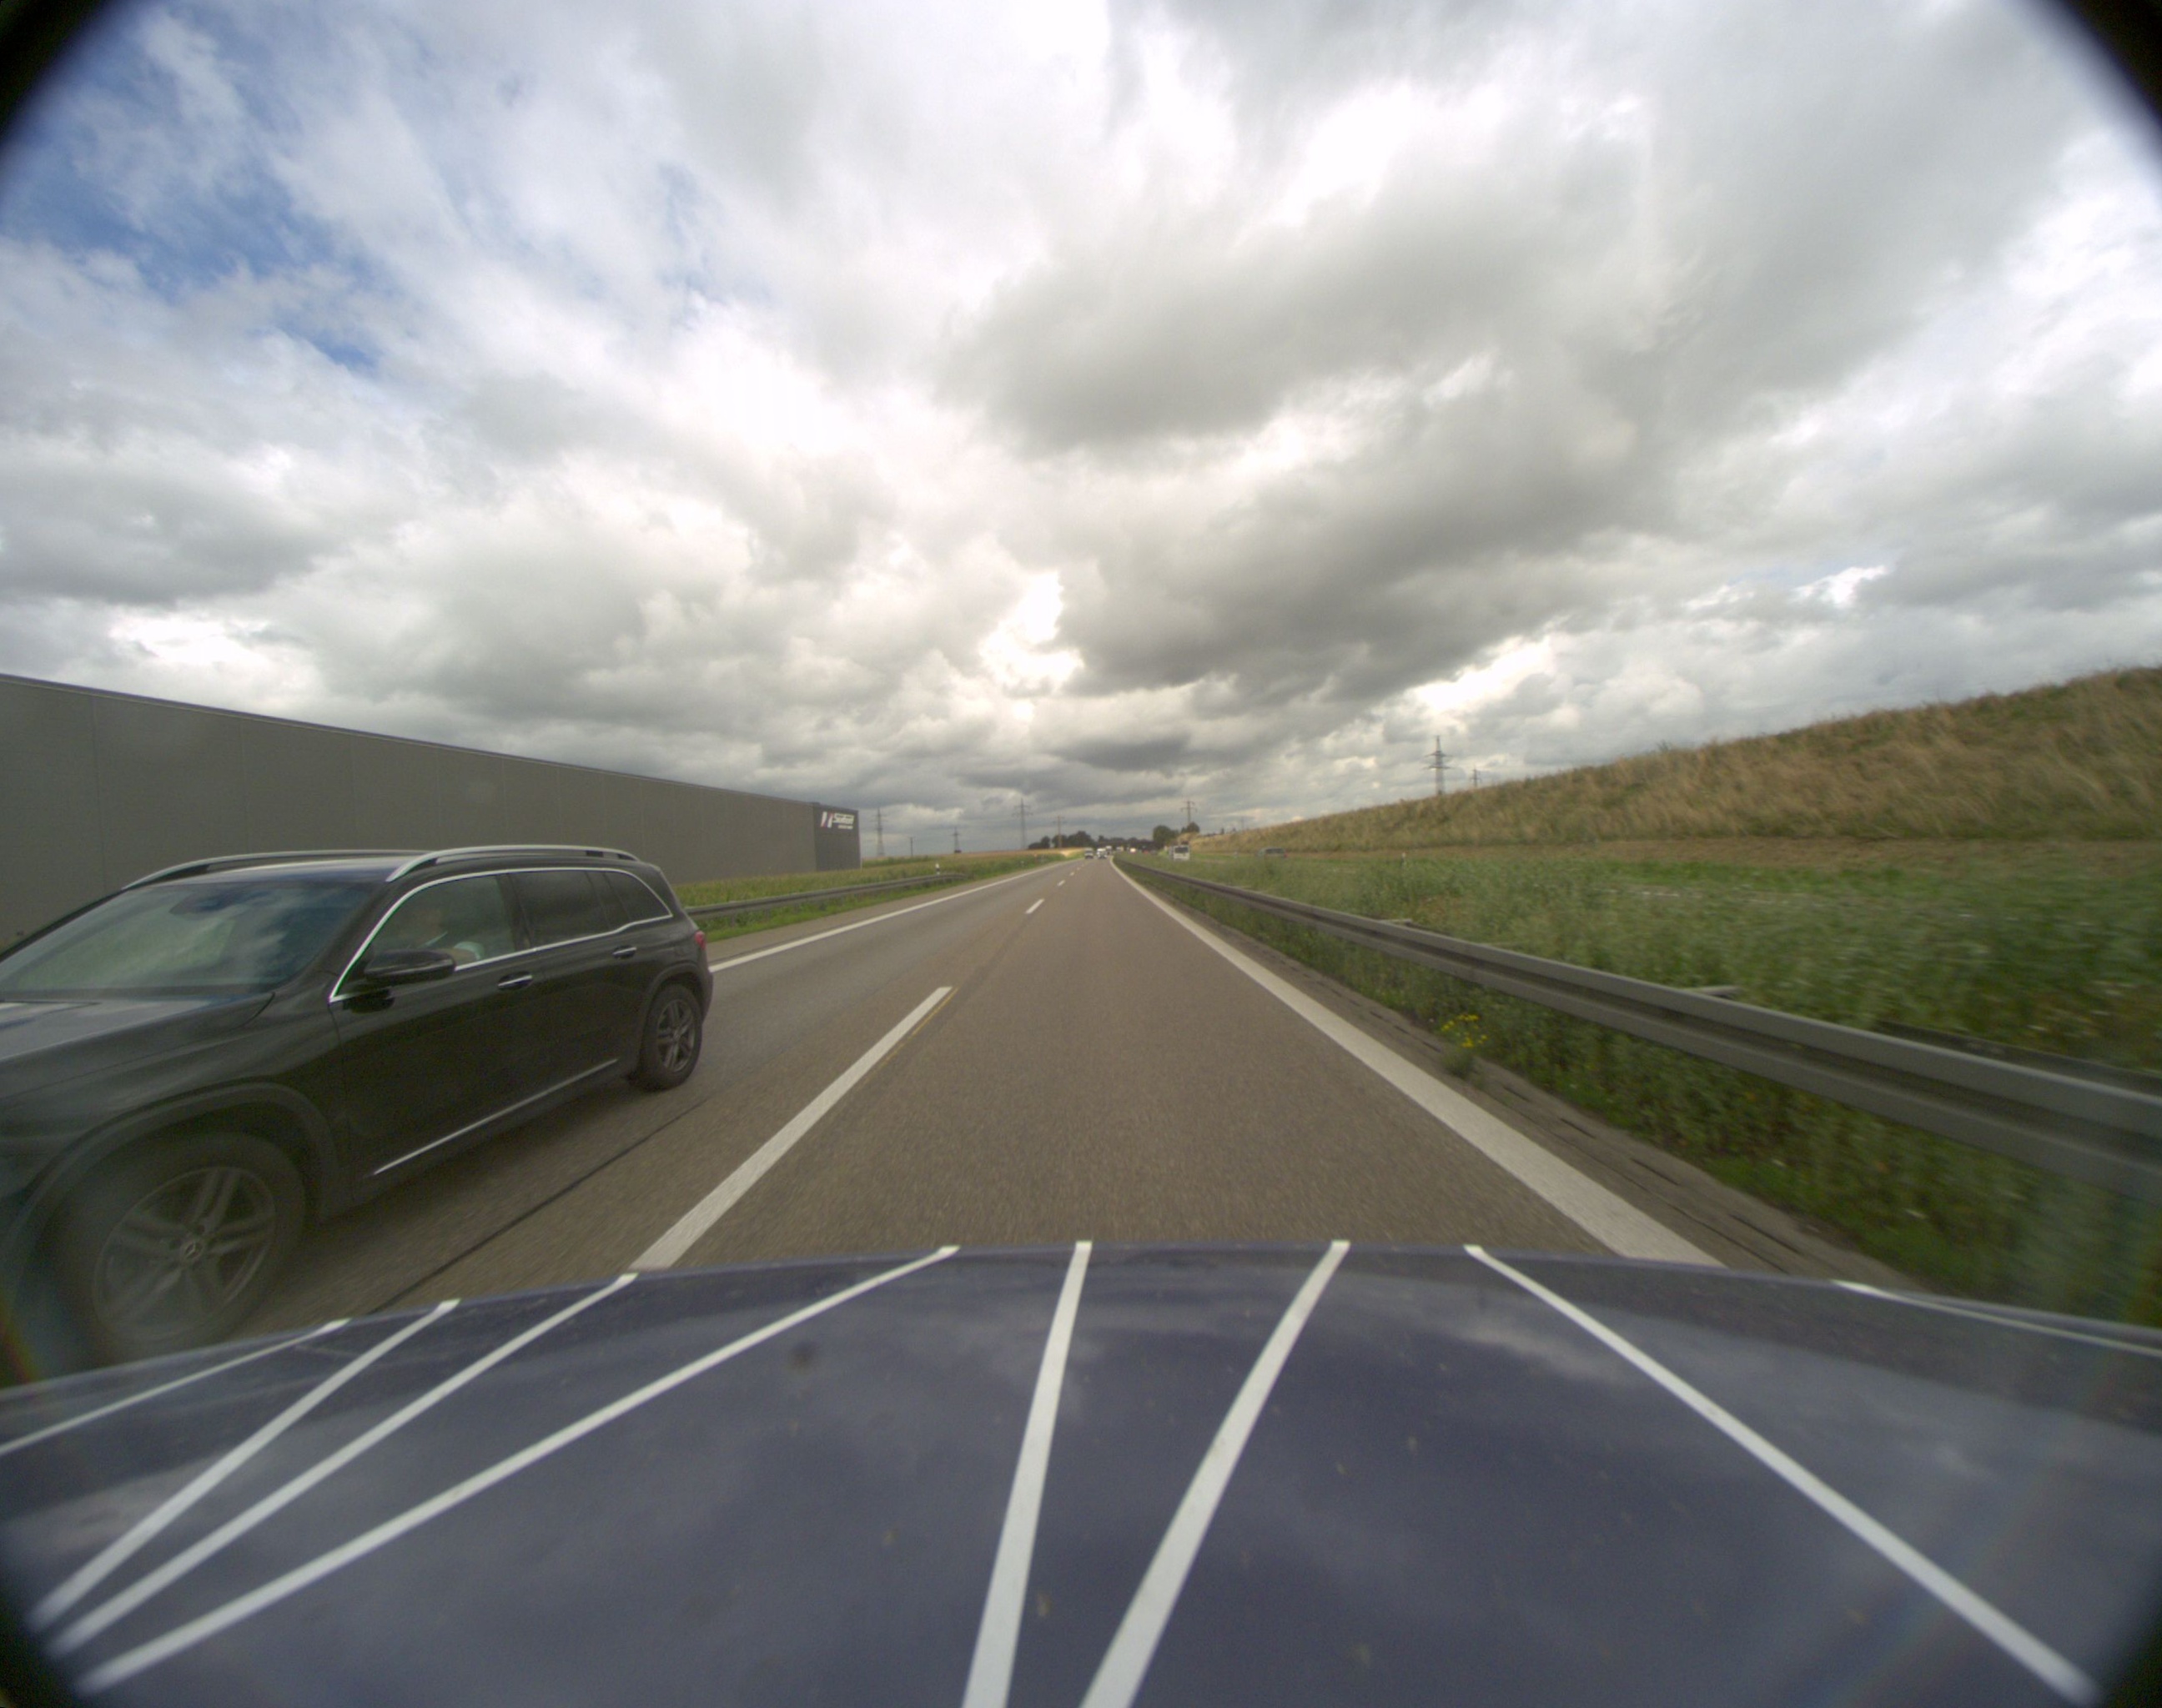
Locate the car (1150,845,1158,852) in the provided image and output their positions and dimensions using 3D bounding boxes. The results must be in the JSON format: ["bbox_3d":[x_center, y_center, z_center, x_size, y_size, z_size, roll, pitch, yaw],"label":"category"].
[{"bbox_3d":[18.346,-1.455,190.834,1.821,1.692,4.000,-2,1,2],"label":"car"}]

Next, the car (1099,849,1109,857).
[{"bbox_3d":[5.065,-0.202,167.480,1.998,1.695,4.663,-4,-1,4],"label":"car"}]

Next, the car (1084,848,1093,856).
[{"bbox_3d":[1.868,-0.458,187.732,1.998,1.812,4.342,-2,1,3],"label":"car"}]

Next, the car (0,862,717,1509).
[{"bbox_3d":[-3.742,0.925,3.544,1.838,1.600,4.360,-2,1,2],"label":"car"}]

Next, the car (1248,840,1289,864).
[{"bbox_3d":[12.390,-0.142,50.387,1.776,1.445,4.000,-2,1,2],"label":"car"}]

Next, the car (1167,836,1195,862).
[{"bbox_3d":[9.842,-0.533,75.381,1.998,2.334,5.870,-2,1,1],"label":"car"}]
